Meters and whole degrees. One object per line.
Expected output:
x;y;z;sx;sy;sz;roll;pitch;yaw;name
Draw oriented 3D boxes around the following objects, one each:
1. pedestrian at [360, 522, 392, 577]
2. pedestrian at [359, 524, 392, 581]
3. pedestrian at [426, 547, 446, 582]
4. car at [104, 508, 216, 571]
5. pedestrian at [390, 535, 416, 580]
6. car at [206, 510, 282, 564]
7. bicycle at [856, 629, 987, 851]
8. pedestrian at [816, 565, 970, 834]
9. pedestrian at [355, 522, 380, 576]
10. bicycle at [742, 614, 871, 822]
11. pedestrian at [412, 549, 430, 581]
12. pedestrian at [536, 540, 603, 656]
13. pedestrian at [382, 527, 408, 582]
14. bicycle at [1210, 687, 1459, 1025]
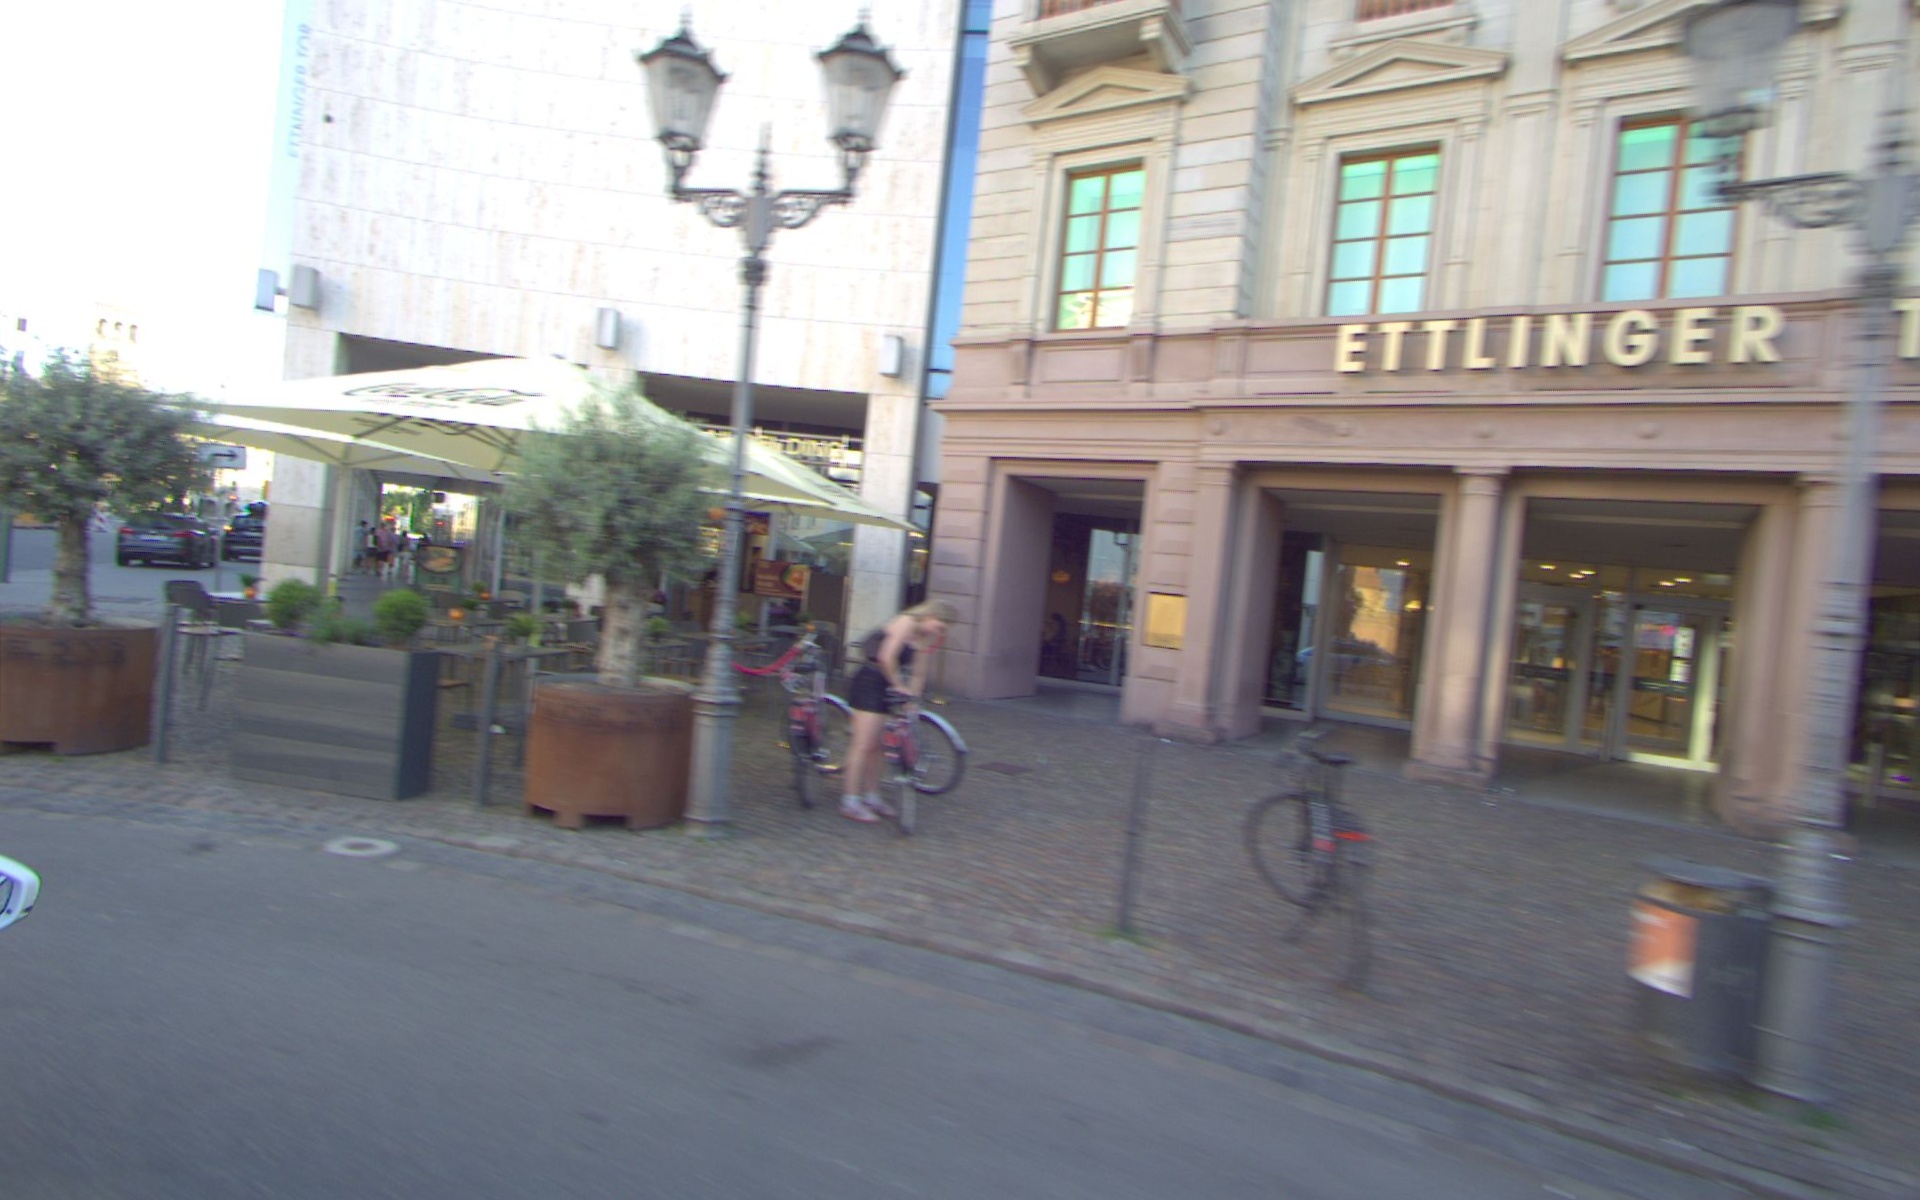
-19.136;-1.662;32.950;0.759;1.704;0.869;5;3;-31;pedestrian
-18.634;-1.519;32.075;0.759;1.704;0.869;5;3;-31;pedestrian
-17.606;-1.203;33.822;0.483;1.112;0.596;5;3;-31;pedestrian
-21.821;-1.643;27.597;1.779;1.510;4.160;2;2;-30;car
-18.330;-1.391;33.073;0.629;1.363;0.768;5;3;-31;pedestrian
-25.084;-2.203;35.352;1.752;1.660;4.026;2;2;-30;car
-0.203;0.853;6.865;0.596;1.143;1.904;6;2;3;bicycle
-0.458;0.618;6.543;0.737;1.609;0.712;6;1;-13;pedestrian
-19.830;-1.720;33.656;0.586;1.720;0.690;5;2;-33;pedestrian
-1.043;0.755;7.231;0.596;1.143;1.903;6;2;-2;bicycle
-17.794;-1.155;33.215;0.416;0.999;0.521;5;3;-31;pedestrian
-6.285;-0.038;16.221;0.705;1.768;0.668;6;1;-8;pedestrian
-19.585;-1.575;34.852;0.629;1.798;0.768;5;3;-31;pedestrian
1.792;1.150;5.145;0.596;1.143;1.905;7;2;6;bicycle
